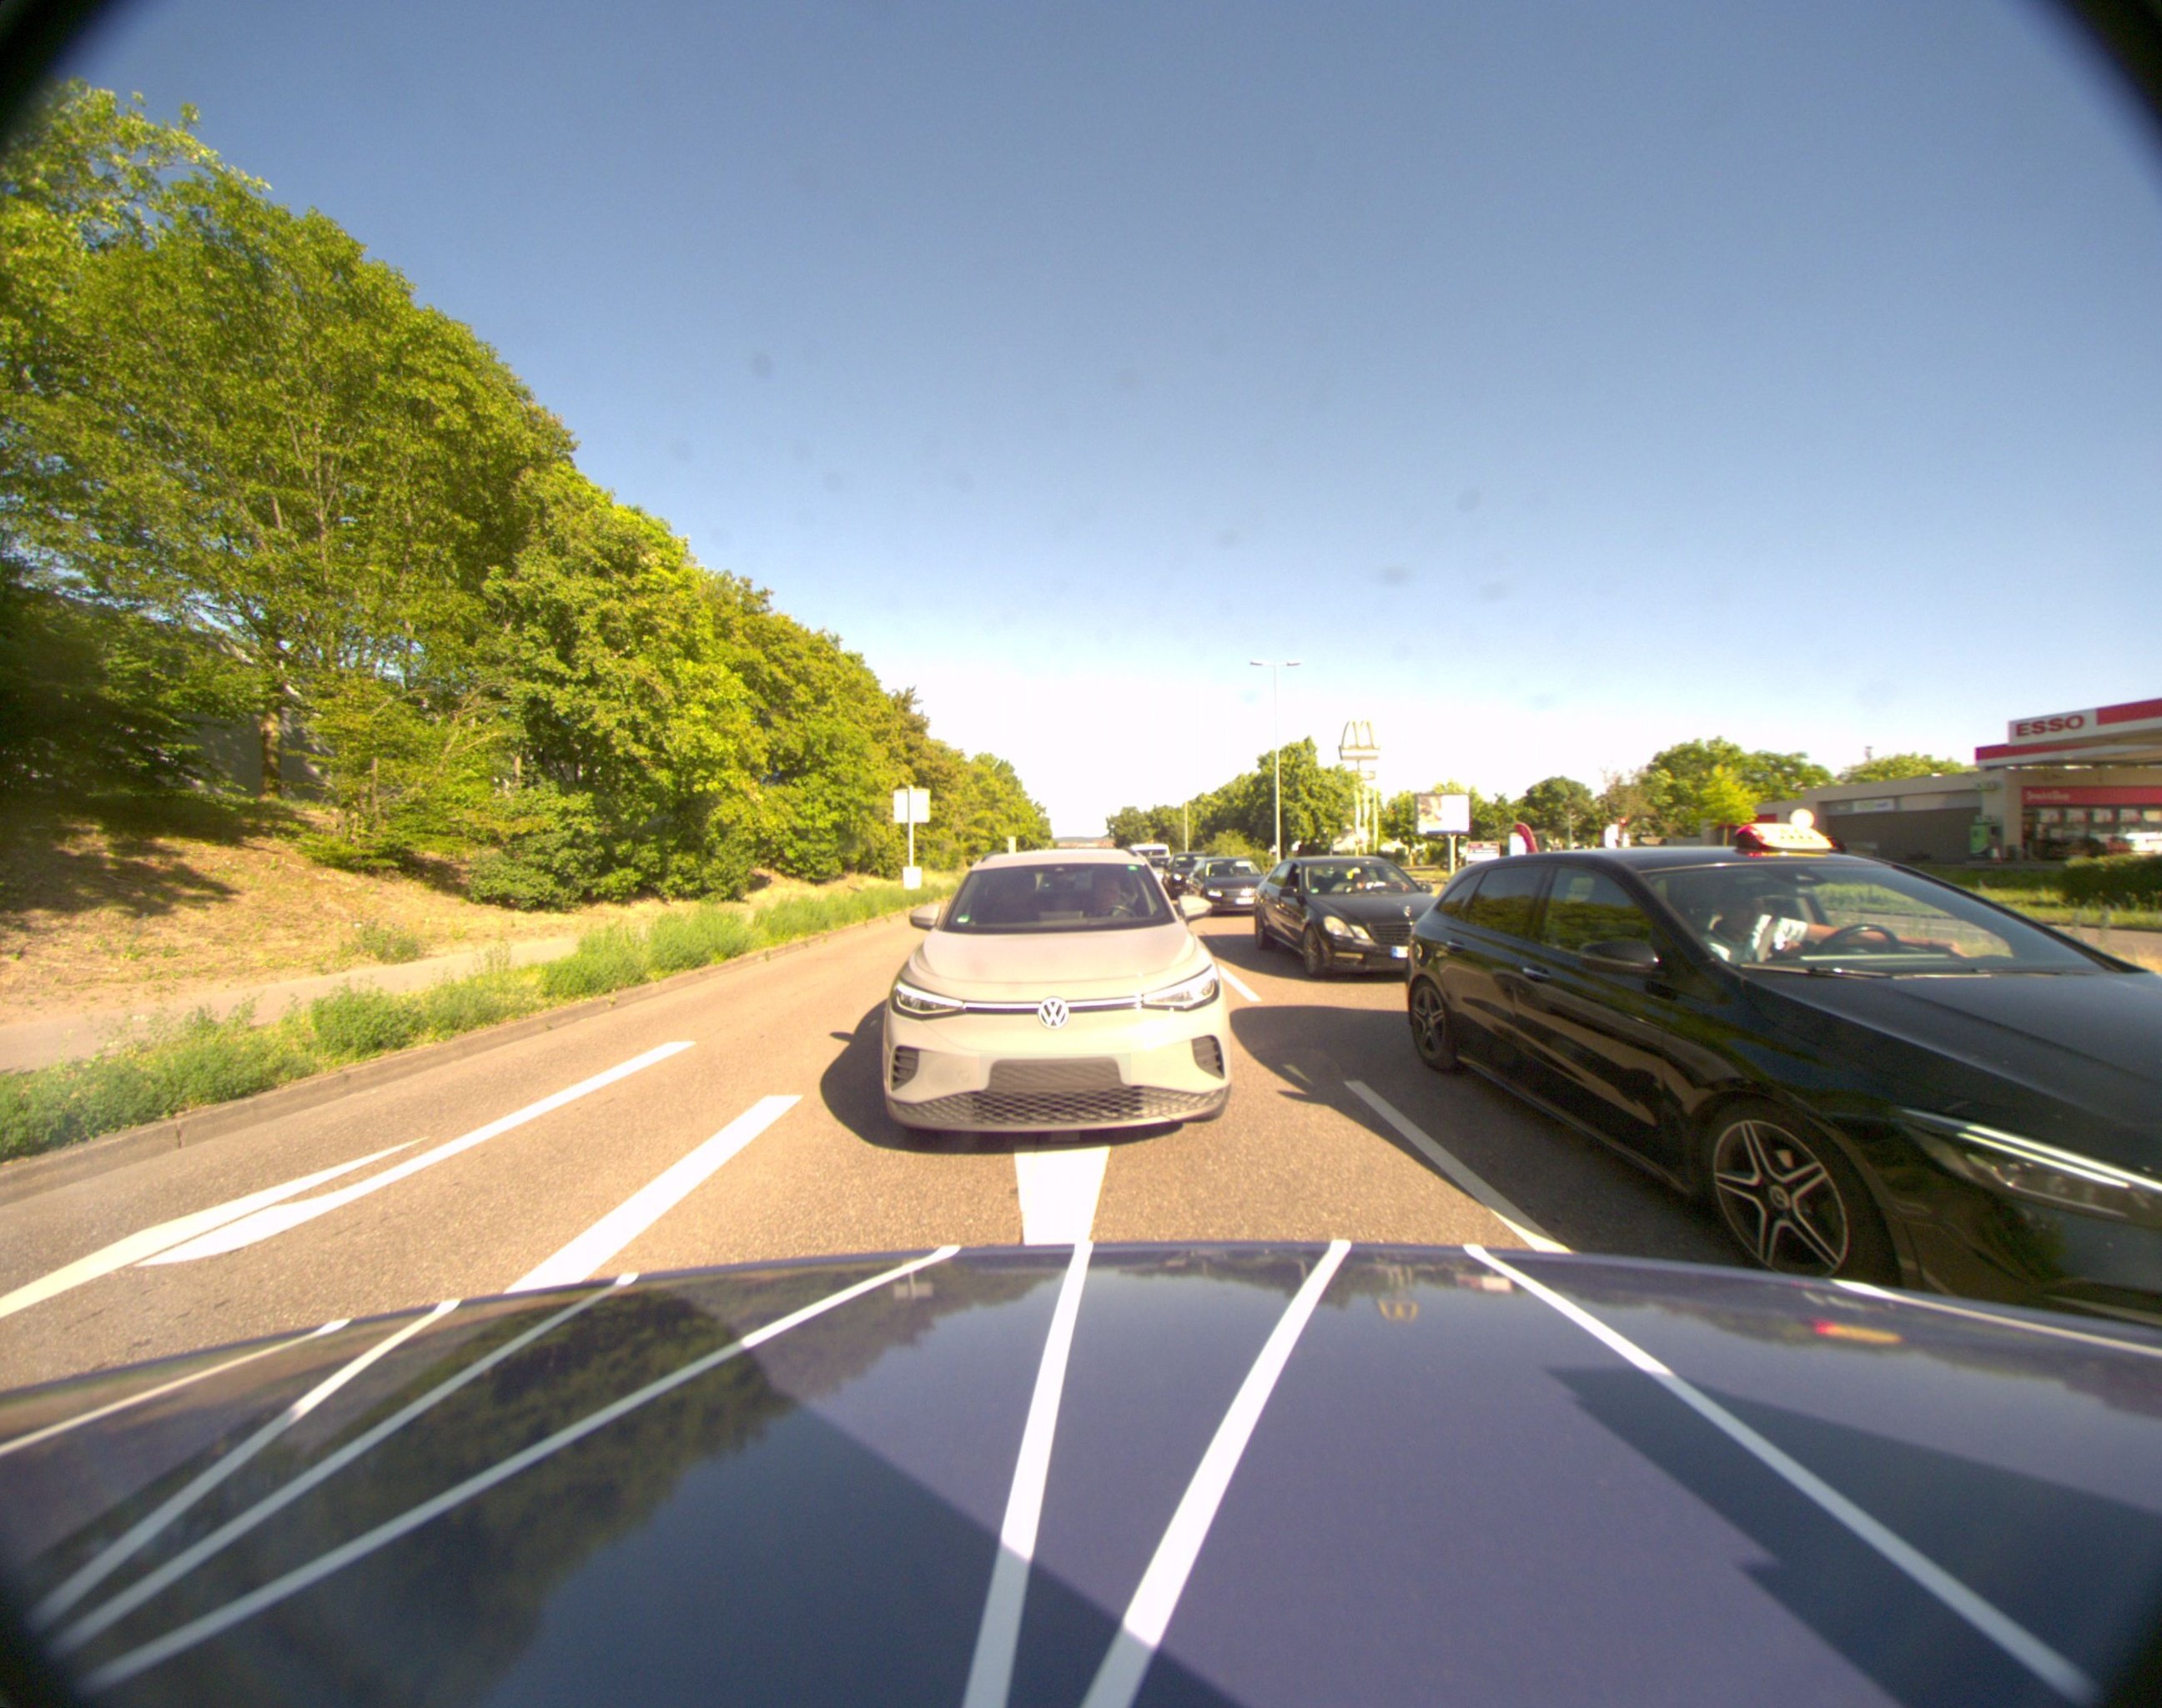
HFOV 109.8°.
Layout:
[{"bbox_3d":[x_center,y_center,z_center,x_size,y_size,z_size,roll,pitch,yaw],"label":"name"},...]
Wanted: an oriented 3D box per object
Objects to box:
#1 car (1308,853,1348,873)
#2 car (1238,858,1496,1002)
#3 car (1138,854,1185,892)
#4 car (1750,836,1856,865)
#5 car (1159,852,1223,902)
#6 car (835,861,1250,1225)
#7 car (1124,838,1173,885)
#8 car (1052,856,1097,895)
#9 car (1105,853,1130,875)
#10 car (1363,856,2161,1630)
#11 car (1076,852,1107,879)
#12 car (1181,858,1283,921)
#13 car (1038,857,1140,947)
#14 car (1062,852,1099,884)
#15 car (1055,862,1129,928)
[{"bbox_3d":[18.972,0.650,58.563,1.763,1.401,3.978,1,1,0],"label":"car"},{"bbox_3d":[3.587,0.848,10.521,1.868,1.430,4.402,-2,1,0],"label":"car"},{"bbox_3d":[3.570,0.789,34.186,1.635,1.547,3.777,-2,0,0],"label":"car"},{"bbox_3d":[37.621,-0.198,39.721,1.682,1.401,3.978,1,1,0],"label":"car"},{"bbox_3d":[3.902,0.764,27.497,1.674,1.607,3.879,-2,0,0],"label":"car"},{"bbox_3d":[-0.183,0.897,5.723,1.862,1.573,4.403,-2,0,0],"label":"car"},{"bbox_3d":[3.648,0.384,42.060,2.019,2.349,6.523,-2,0,0],"label":"car"},{"bbox_3d":[-0.261,0.880,33.054,1.763,1.482,4.402,-2,1,0],"label":"car"},{"bbox_3d":[2.926,0.816,62.136,1.763,1.607,4.402,-2,1,0],"label":"car"},{"bbox_3d":[3.090,0.815,3.674,1.763,1.482,4.402,-2,1,0],"label":"car"},{"bbox_3d":[0.599,0.690,47.043,1.763,1.482,4.402,-2,1,0],"label":"car"},{"bbox_3d":[3.870,0.858,20.237,1.797,1.419,4.287,-2,0,0],"label":"car"},{"bbox_3d":[0.133,0.870,15.780,1.763,1.482,4.402,-2,1,0],"label":"car"},{"bbox_3d":[-0.047,0.711,39.876,1.763,1.482,4.402,-2,1,0],"label":"car"},{"bbox_3d":[0.262,1.037,20.948,1.763,1.482,4.402,-2,1,0],"label":"car"}]
